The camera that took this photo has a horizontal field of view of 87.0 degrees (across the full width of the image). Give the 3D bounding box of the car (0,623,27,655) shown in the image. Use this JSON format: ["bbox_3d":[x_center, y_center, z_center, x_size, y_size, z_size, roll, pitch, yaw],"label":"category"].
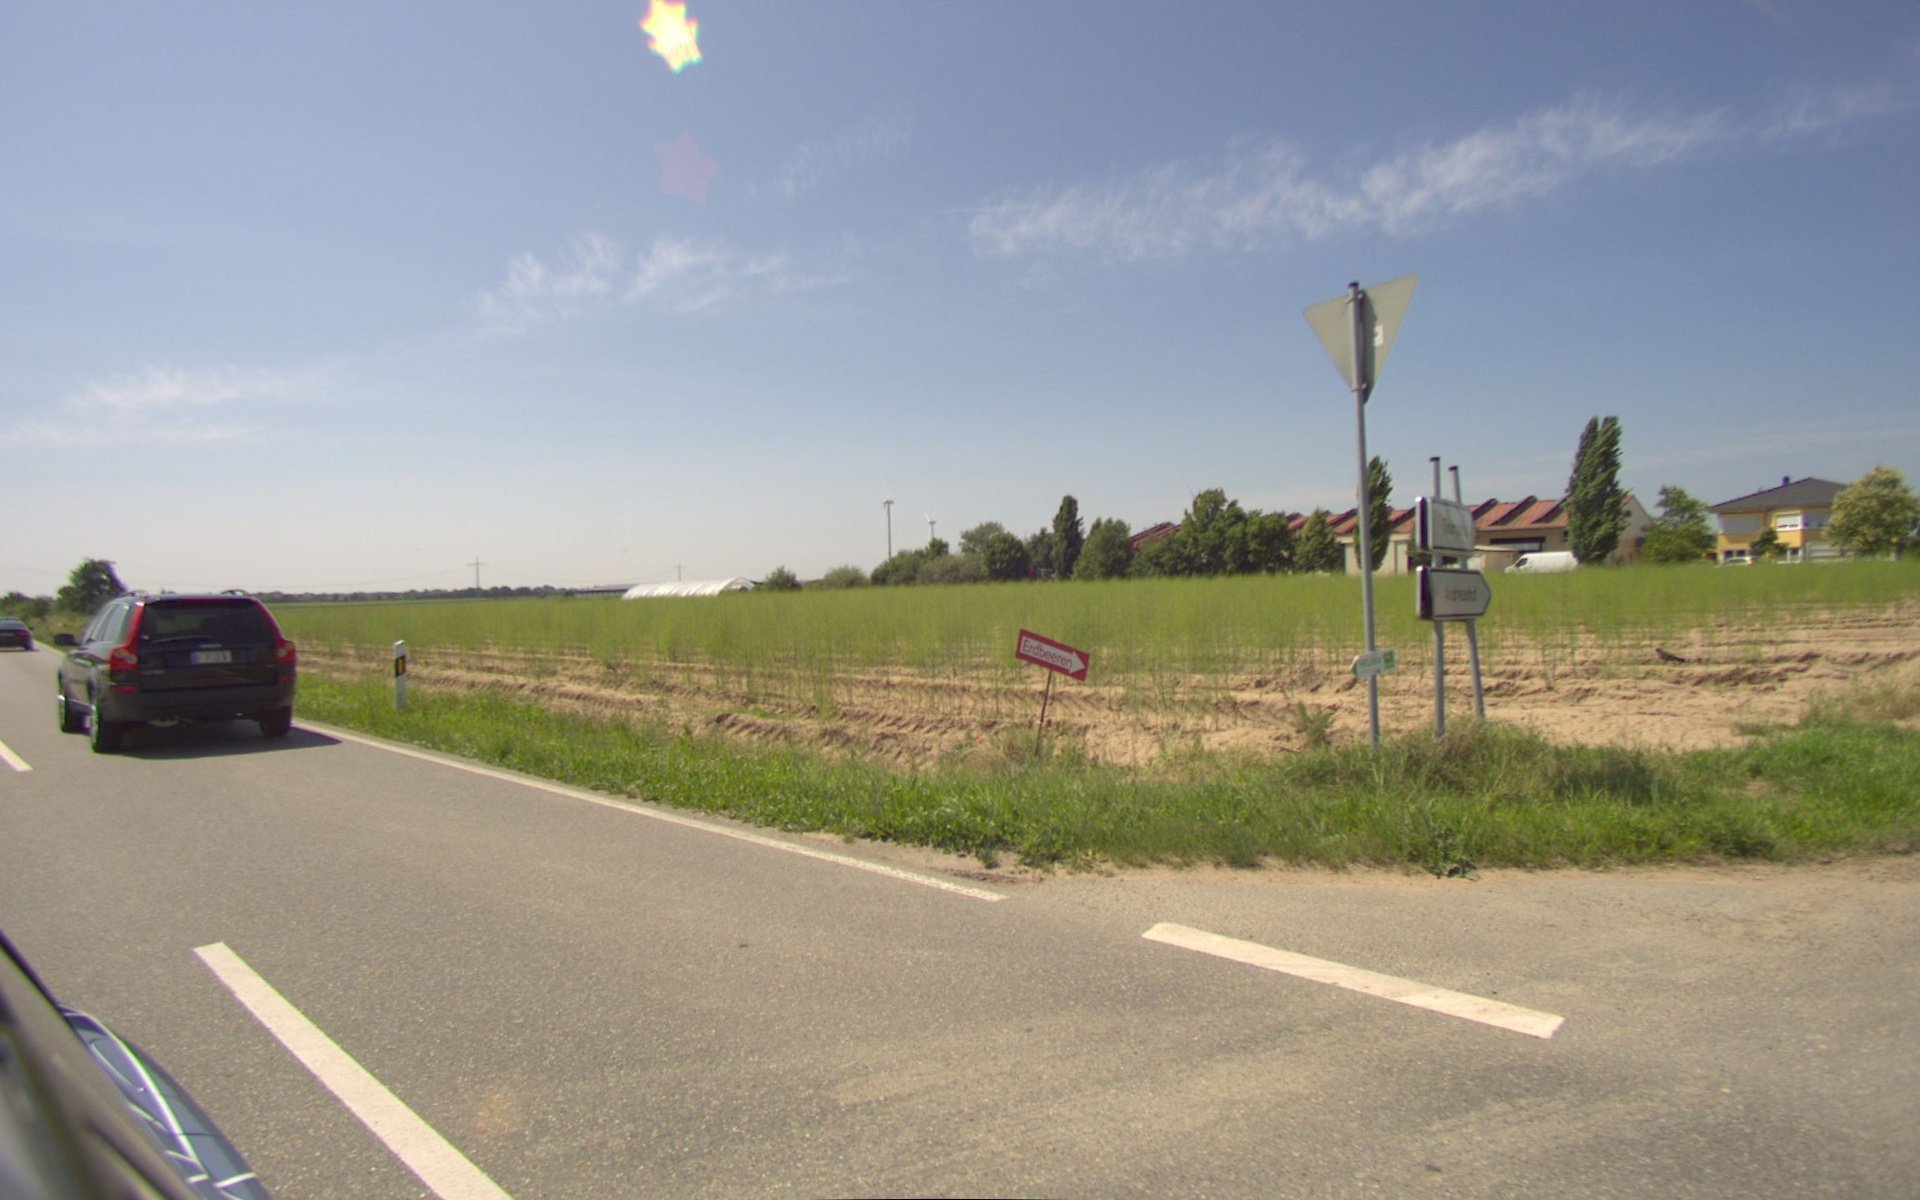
[{"bbox_3d":[-43.459,1.754,45.743,1.722,1.367,4.421,-1,0,-45],"label":"car"}]

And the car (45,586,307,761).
[{"bbox_3d":[-10.002,0.775,12.728,5.205,1.765,1.912,-1,-1,44],"label":"car"}]

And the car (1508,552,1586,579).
[{"bbox_3d":[50.975,-2.980,87.951,1.843,2.077,5.509,-3,2,-43],"label":"car"}]

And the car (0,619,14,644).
[{"bbox_3d":[-61.955,2.027,64.934,1.720,1.544,4.144,-1,0,-45],"label":"car"}]

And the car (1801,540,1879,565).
[{"bbox_3d":[60.086,-3.239,69.163,3.999,1.549,1.846,-1,2,42],"label":"car"}]
